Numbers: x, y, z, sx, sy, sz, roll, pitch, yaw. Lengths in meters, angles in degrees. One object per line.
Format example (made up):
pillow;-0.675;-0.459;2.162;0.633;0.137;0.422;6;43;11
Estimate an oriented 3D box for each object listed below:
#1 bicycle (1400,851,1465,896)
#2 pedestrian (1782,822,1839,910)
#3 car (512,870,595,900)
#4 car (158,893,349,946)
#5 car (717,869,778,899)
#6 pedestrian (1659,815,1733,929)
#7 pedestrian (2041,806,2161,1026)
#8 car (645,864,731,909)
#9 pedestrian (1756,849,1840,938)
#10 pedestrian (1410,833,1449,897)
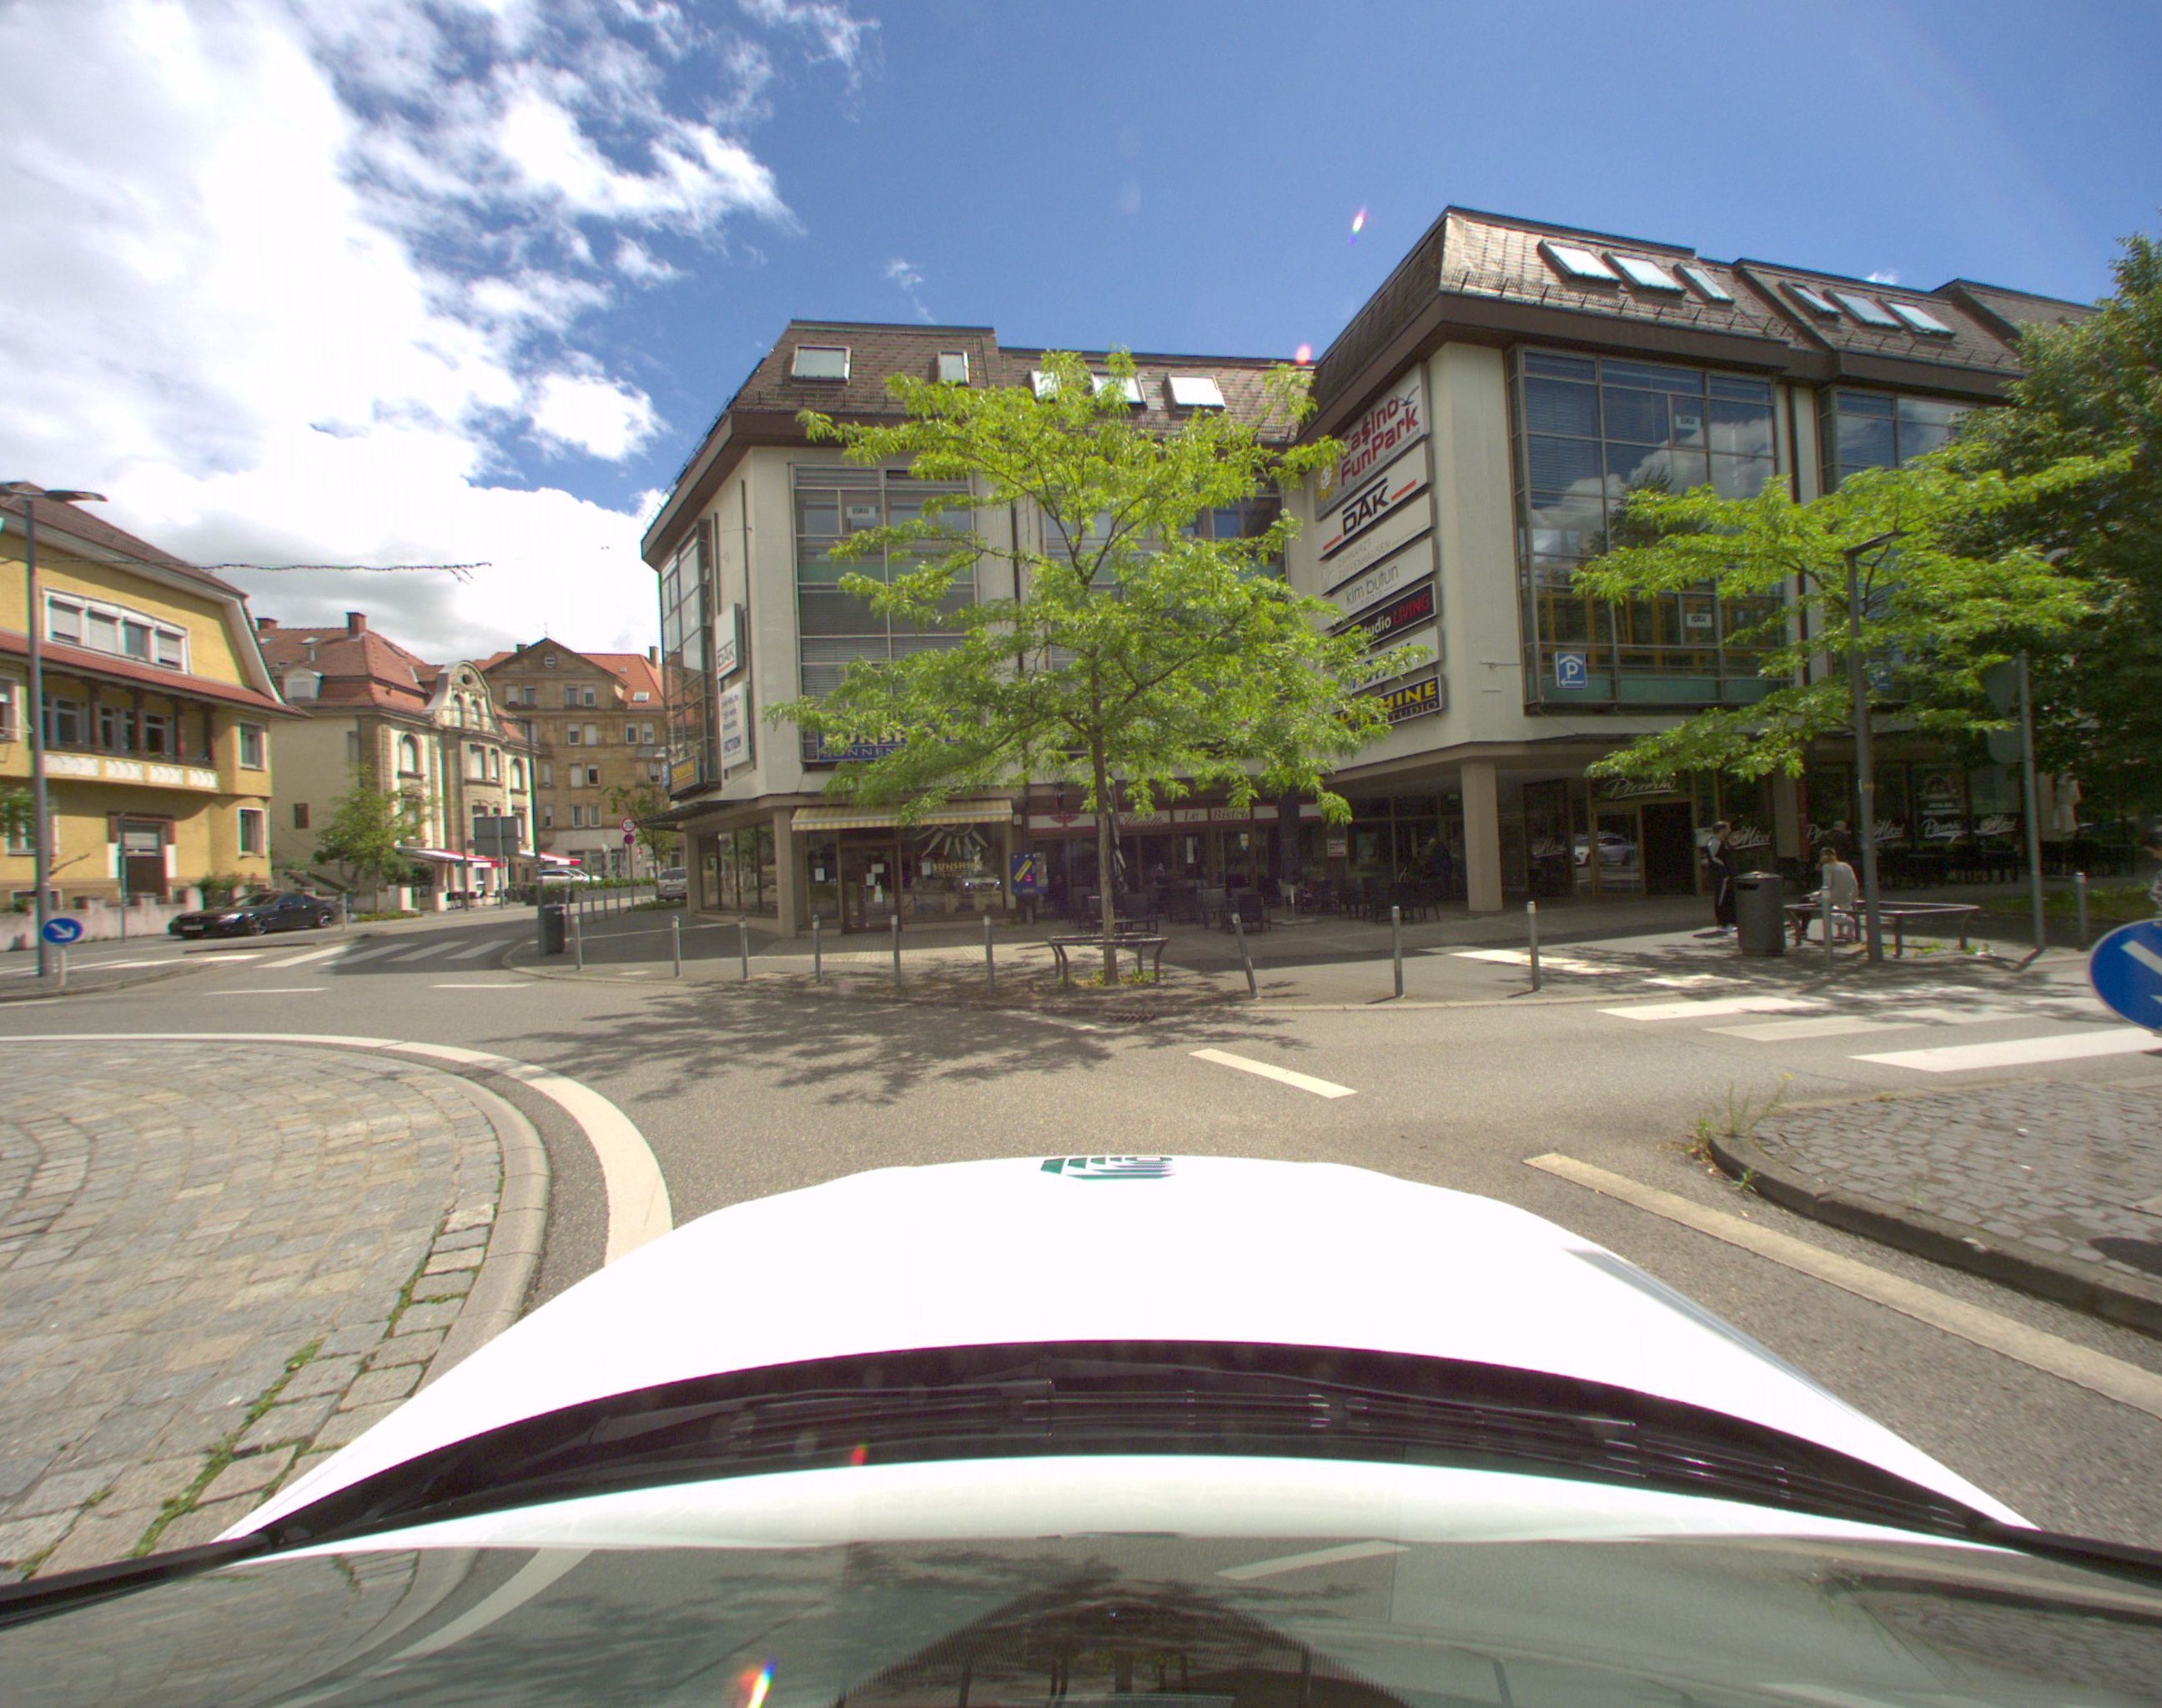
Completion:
bicycle;9.382;0.535;21.763;1.523;1.168;0.499;-2;-1;28
pedestrian;14.412;0.225;16.101;0.700;1.674;0.611;-2;0;-29
car;-36.235;2.113;56.053;4.435;1.775;1.986;-2;0;-21
car;-25.958;2.012;25.810;1.706;1.245;4.405;-2;0;-4
car;-19.401;1.697;47.597;1.819;1.519;4.230;-3;0;-2
pedestrian;10.217;0.282;13.543;0.615;1.819;0.695;-3;0;-11
pedestrian;7.890;0.427;6.040;0.756;1.554;0.784;-2;0;31
car;-17.437;1.396;36.366;1.819;1.731;4.230;-3;0;-2
pedestrian;10.733;0.571;12.204;0.614;1.285;0.697;-2;0;-4
pedestrian;9.374;0.300;21.909;0.697;1.674;0.614;-2;0;-17
